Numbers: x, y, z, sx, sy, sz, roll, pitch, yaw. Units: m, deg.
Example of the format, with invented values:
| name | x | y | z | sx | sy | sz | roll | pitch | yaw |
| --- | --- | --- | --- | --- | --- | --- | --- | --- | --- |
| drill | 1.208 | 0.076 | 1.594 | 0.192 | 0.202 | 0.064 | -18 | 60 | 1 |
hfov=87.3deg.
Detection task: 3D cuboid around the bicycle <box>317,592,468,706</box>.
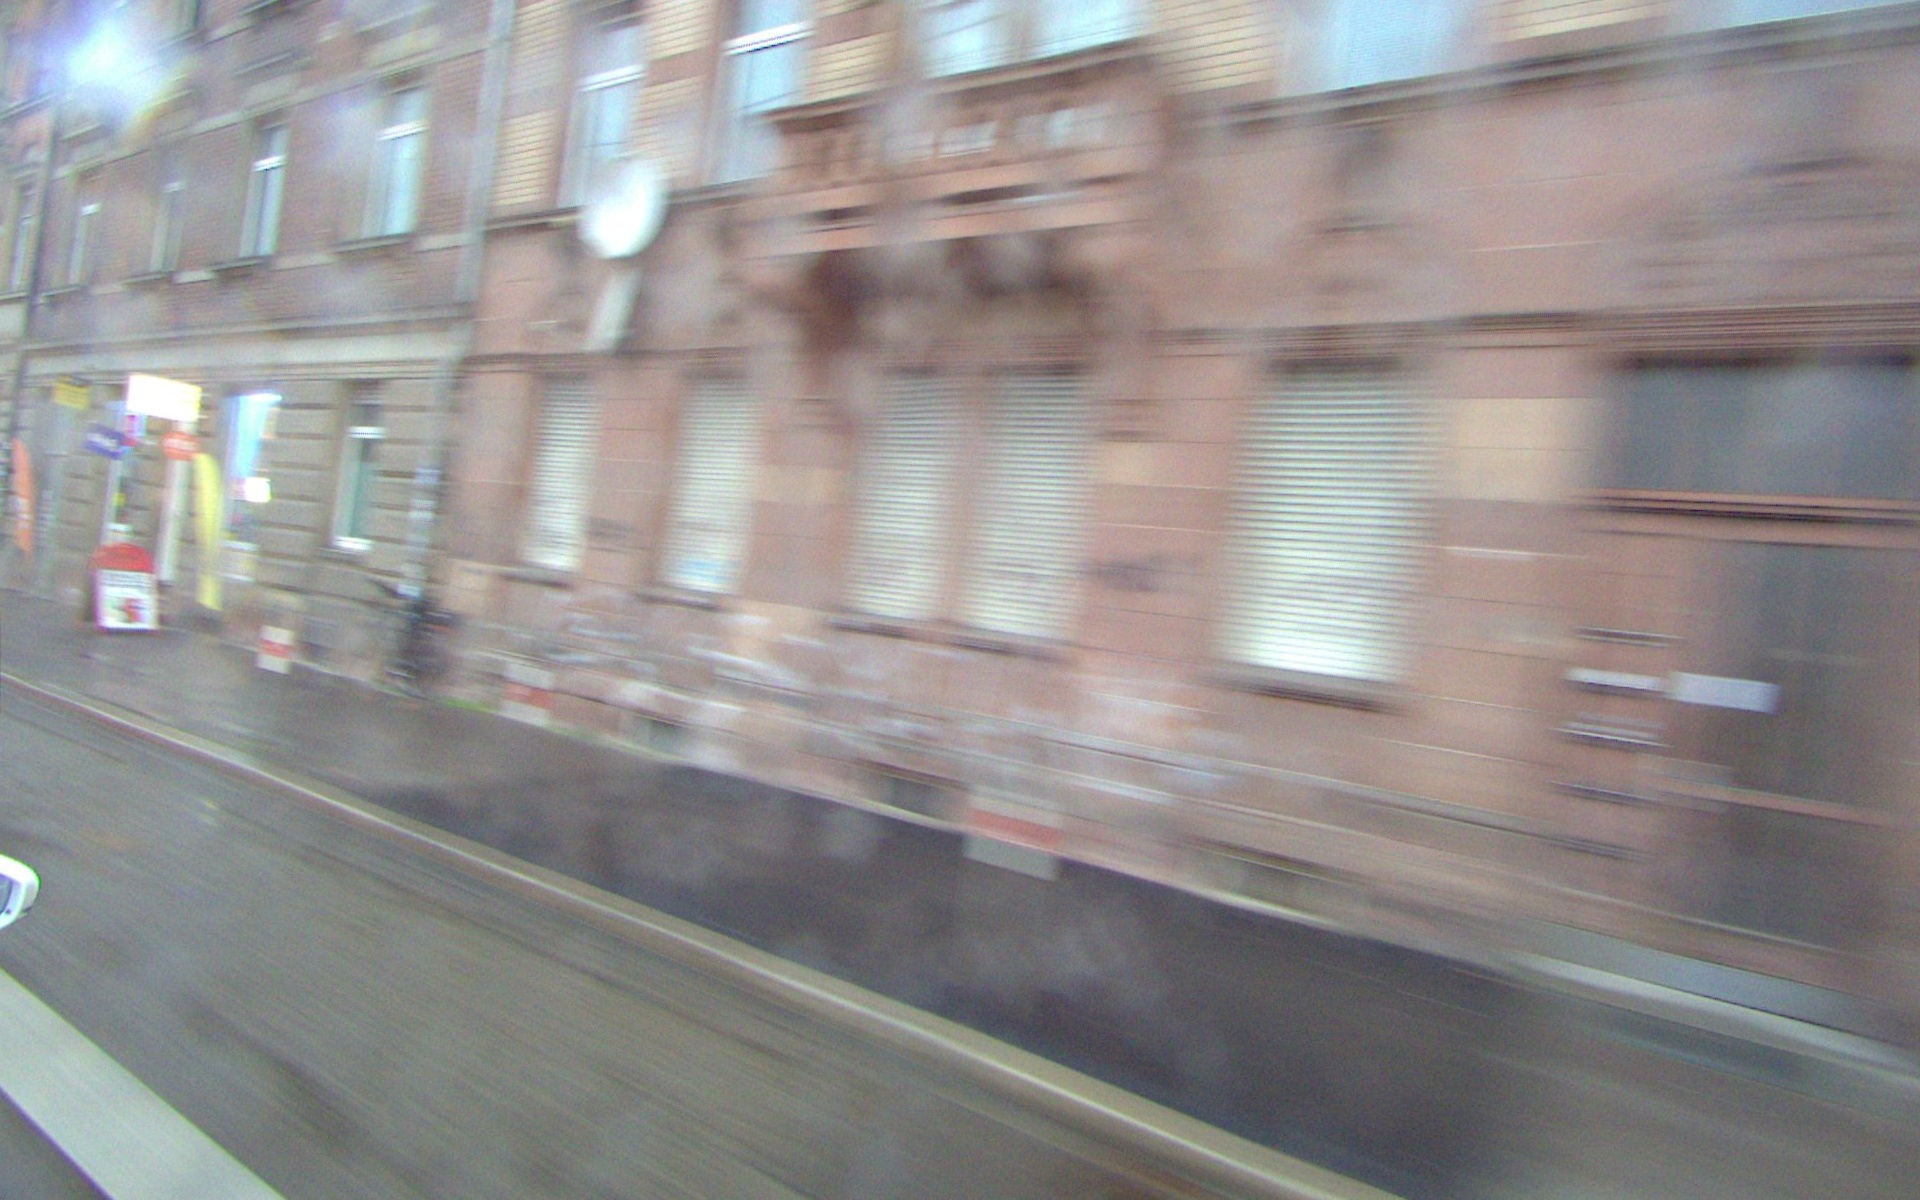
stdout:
| name | x | y | z | sx | sy | sz | roll | pitch | yaw |
| --- | --- | --- | --- | --- | --- | --- | --- | --- | --- |
| bicycle | -5.785 | 0.482 | 10.221 | 1.835 | 0.922 | 0.398 | 7 | -1 | 31 |
